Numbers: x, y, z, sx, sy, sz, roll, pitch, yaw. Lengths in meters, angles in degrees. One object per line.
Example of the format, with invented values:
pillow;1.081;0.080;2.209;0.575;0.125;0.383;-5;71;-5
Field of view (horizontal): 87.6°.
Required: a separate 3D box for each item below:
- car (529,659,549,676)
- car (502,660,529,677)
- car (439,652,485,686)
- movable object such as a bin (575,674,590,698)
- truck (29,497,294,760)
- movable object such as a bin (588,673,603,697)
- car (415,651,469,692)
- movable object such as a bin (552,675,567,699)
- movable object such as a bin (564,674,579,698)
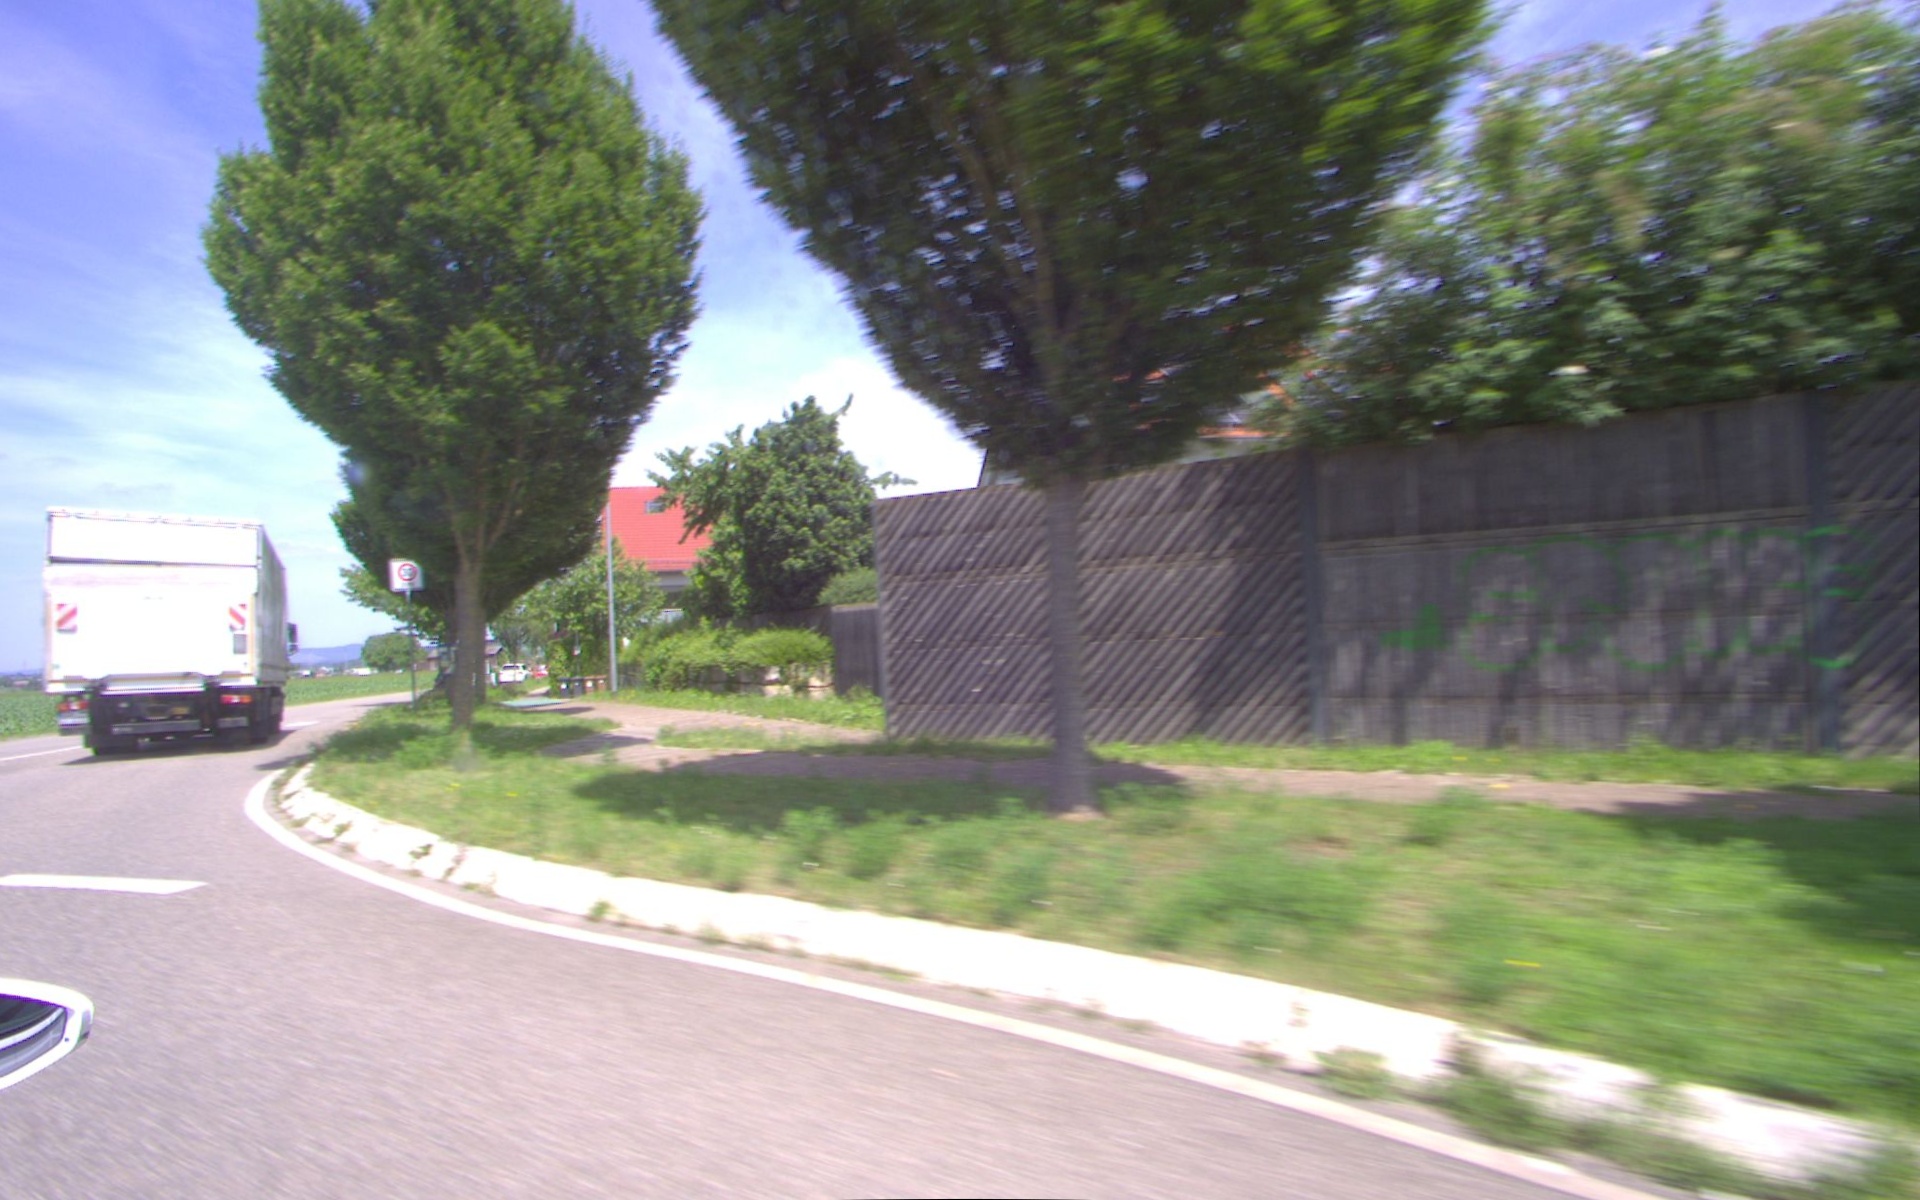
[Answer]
car;-35.866;5.746;85.379;1.264;1.378;3.285;-3;-3;-18
car;-32.632;5.028;73.500;1.341;1.151;3.204;-2;-2;-16
car;-28.063;3.874;56.569;1.967;1.738;3.991;-2;-3;-22
movable object such as a bin;-16.278;3.692;43.173;0.432;0.978;0.499;-2;-1;-1
truck;-14.439;0.629;18.877;2.737;3.717;9.334;-1;-2;-32
movable object such as a bin;-15.736;3.670;43.211;0.432;0.978;0.499;-2;-1;-1
car;-25.872;3.540;50.108;1.967;1.816;3.991;-3;-2;-23
movable object such as a bin;-17.252;3.733;43.132;0.432;0.978;0.499;-2;-1;-1
movable object such as a bin;-16.757;3.712;43.154;0.432;0.978;0.499;-2;-1;-1
